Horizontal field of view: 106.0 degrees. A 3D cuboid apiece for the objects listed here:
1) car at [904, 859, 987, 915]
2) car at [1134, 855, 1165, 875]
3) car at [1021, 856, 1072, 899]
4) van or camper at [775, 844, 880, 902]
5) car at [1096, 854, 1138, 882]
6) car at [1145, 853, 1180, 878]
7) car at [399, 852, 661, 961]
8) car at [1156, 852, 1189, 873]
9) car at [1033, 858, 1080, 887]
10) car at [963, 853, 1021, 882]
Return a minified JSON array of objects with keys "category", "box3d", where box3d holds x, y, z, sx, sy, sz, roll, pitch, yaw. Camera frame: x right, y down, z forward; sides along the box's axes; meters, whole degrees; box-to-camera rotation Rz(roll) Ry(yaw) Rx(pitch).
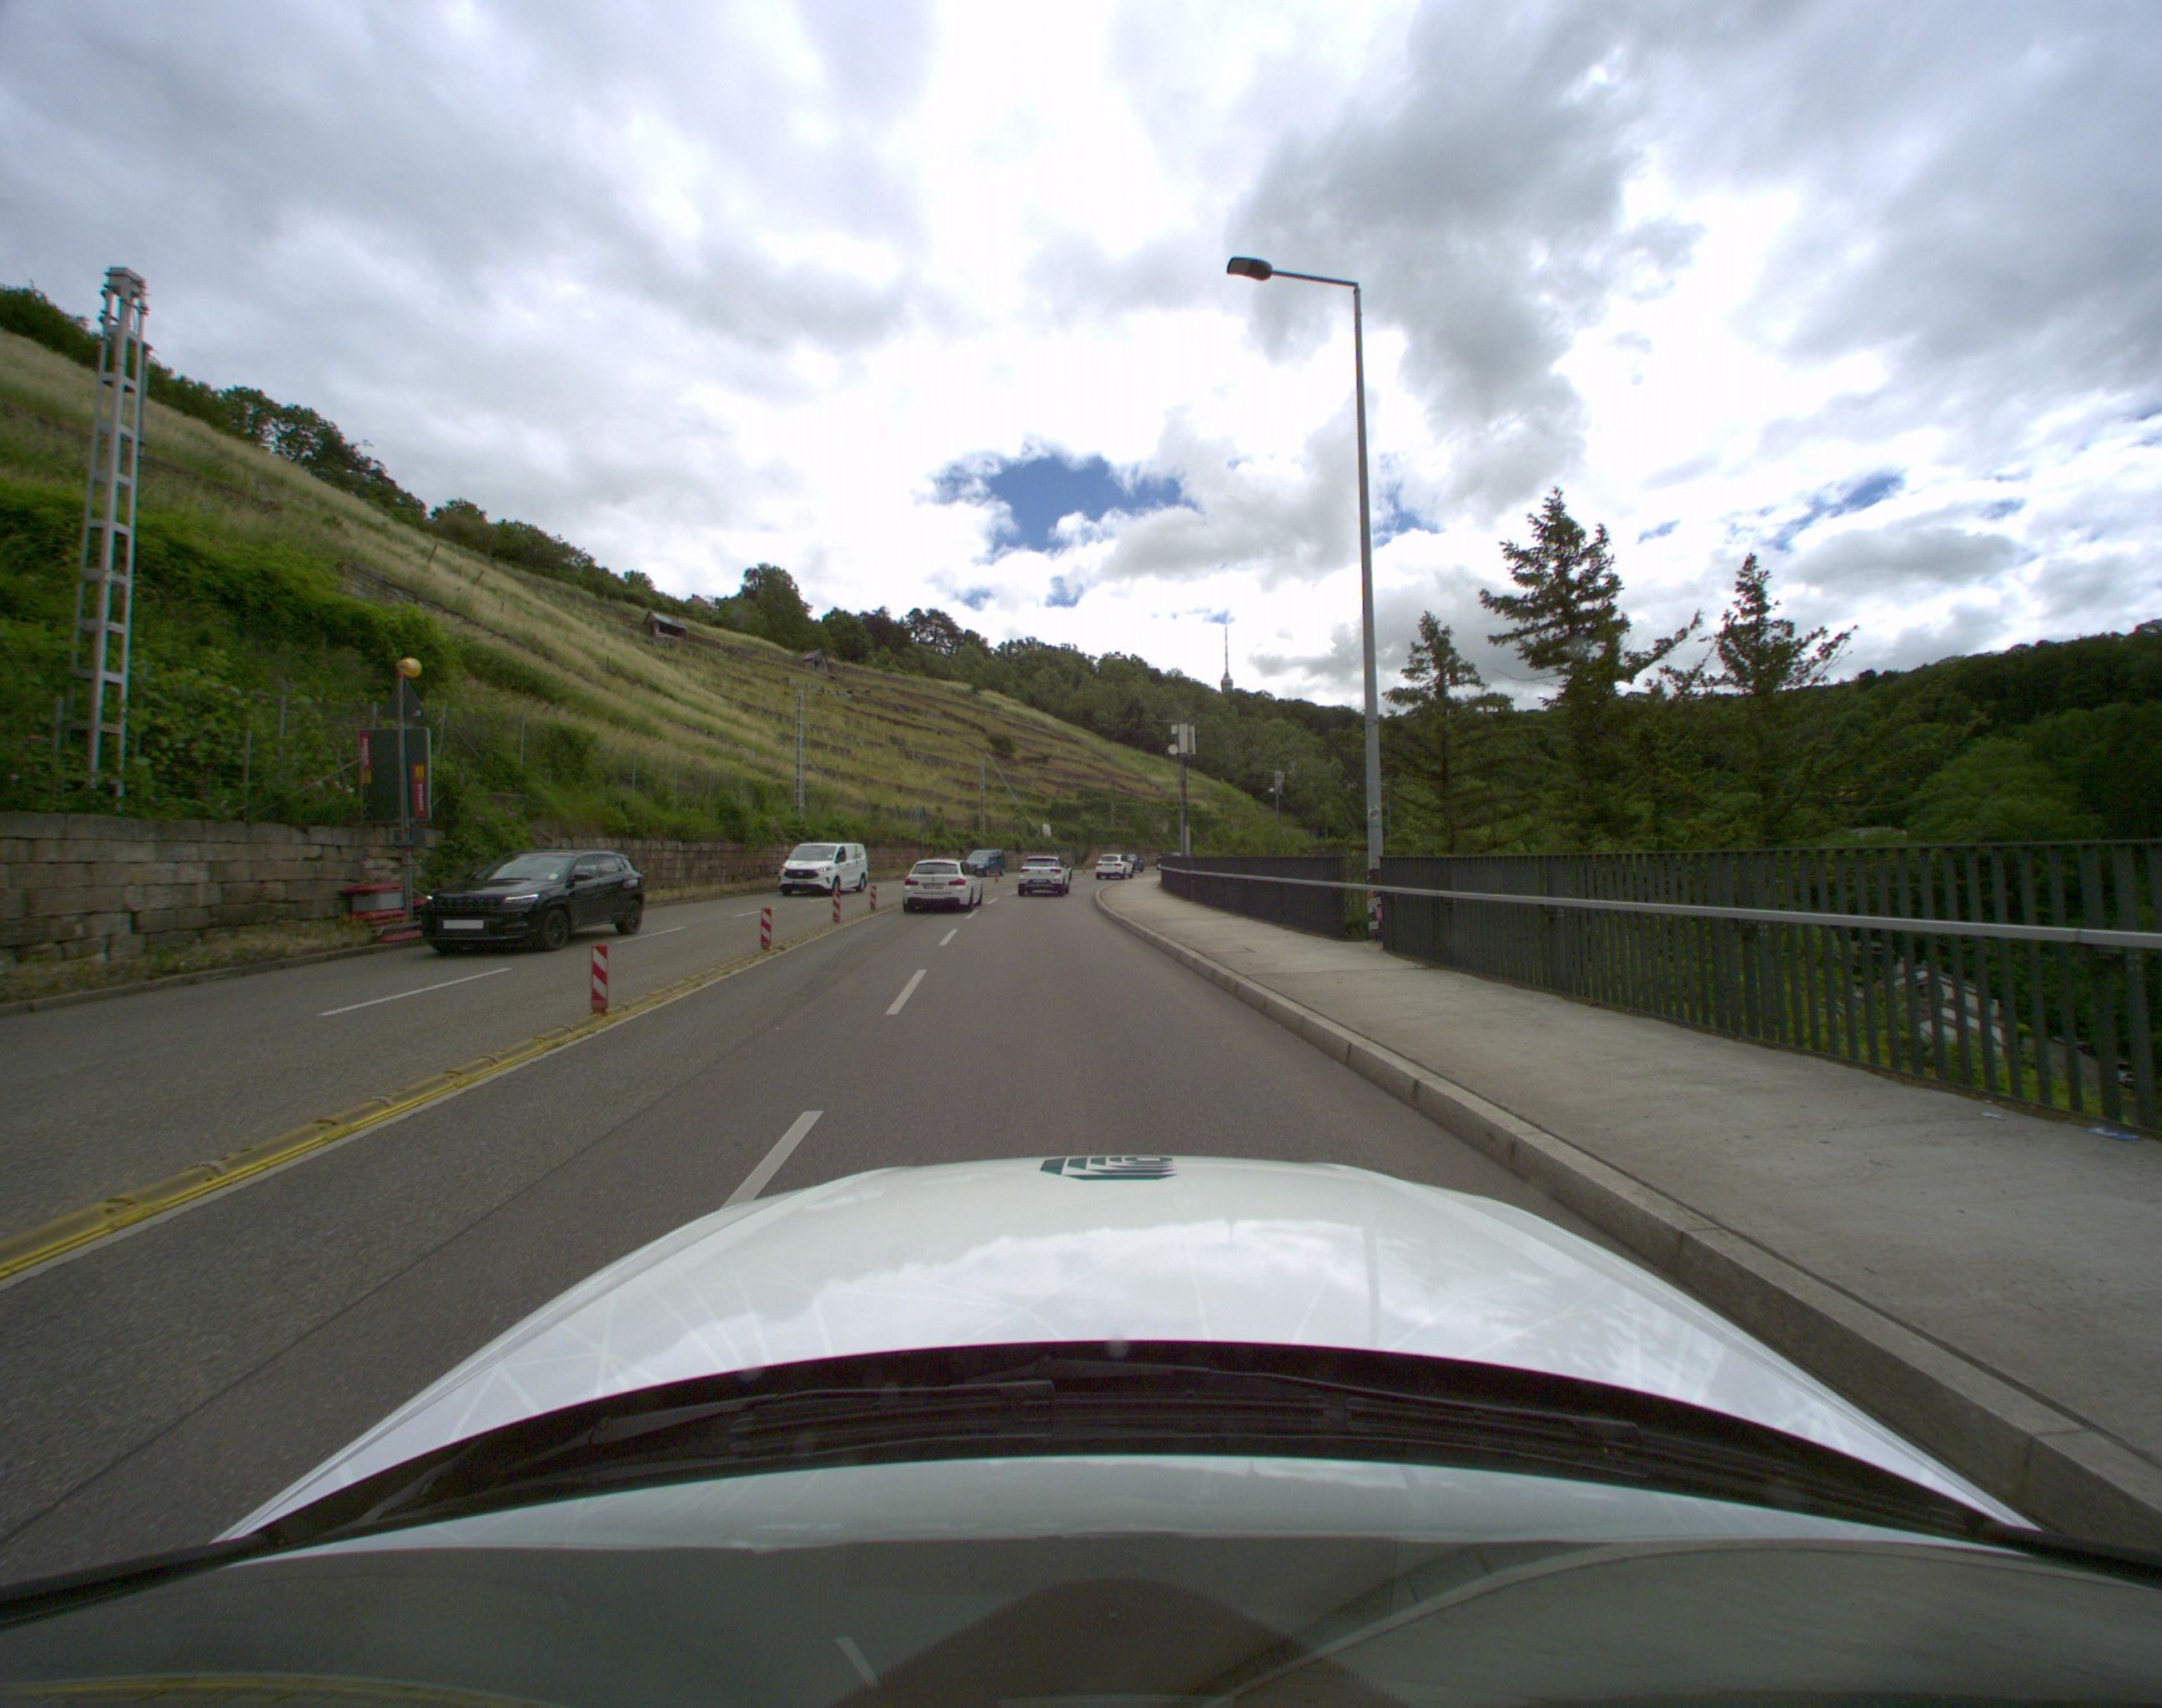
[{"category":"car","box3d":[-3.830,0.892,23.751,1.823,1.460,4.482,0,0,-2]},{"category":"car","box3d":[6.705,1.072,79.496,1.853,1.762,4.020,-3,-4,22]},{"category":"car","box3d":[-1.337,0.910,32.799,1.821,1.606,4.000,-1,-1,1]},{"category":"van or camper","box3d":[-9.593,0.668,31.285,2.138,2.016,4.969,1,0,4]},{"category":"car","box3d":[2.441,0.909,53.955,1.979,1.718,4.128,-1,-1,13]},{"category":"car","box3d":[7.134,1.000,70.956,1.977,2.014,4.020,-4,-2,20]},{"category":"car","box3d":[-9.365,0.791,14.381,1.860,1.624,4.342,0,0,-4]},{"category":"car","box3d":[8.870,0.823,78.755,1.852,1.762,4.022,-3,-4,26]},{"category":"car","box3d":[-1.417,1.081,48.748,1.983,1.503,4.676,-4,-1,7]},{"category":"car","box3d":[-5.961,0.878,55.219,1.835,1.782,4.758,1,0,22]}]
